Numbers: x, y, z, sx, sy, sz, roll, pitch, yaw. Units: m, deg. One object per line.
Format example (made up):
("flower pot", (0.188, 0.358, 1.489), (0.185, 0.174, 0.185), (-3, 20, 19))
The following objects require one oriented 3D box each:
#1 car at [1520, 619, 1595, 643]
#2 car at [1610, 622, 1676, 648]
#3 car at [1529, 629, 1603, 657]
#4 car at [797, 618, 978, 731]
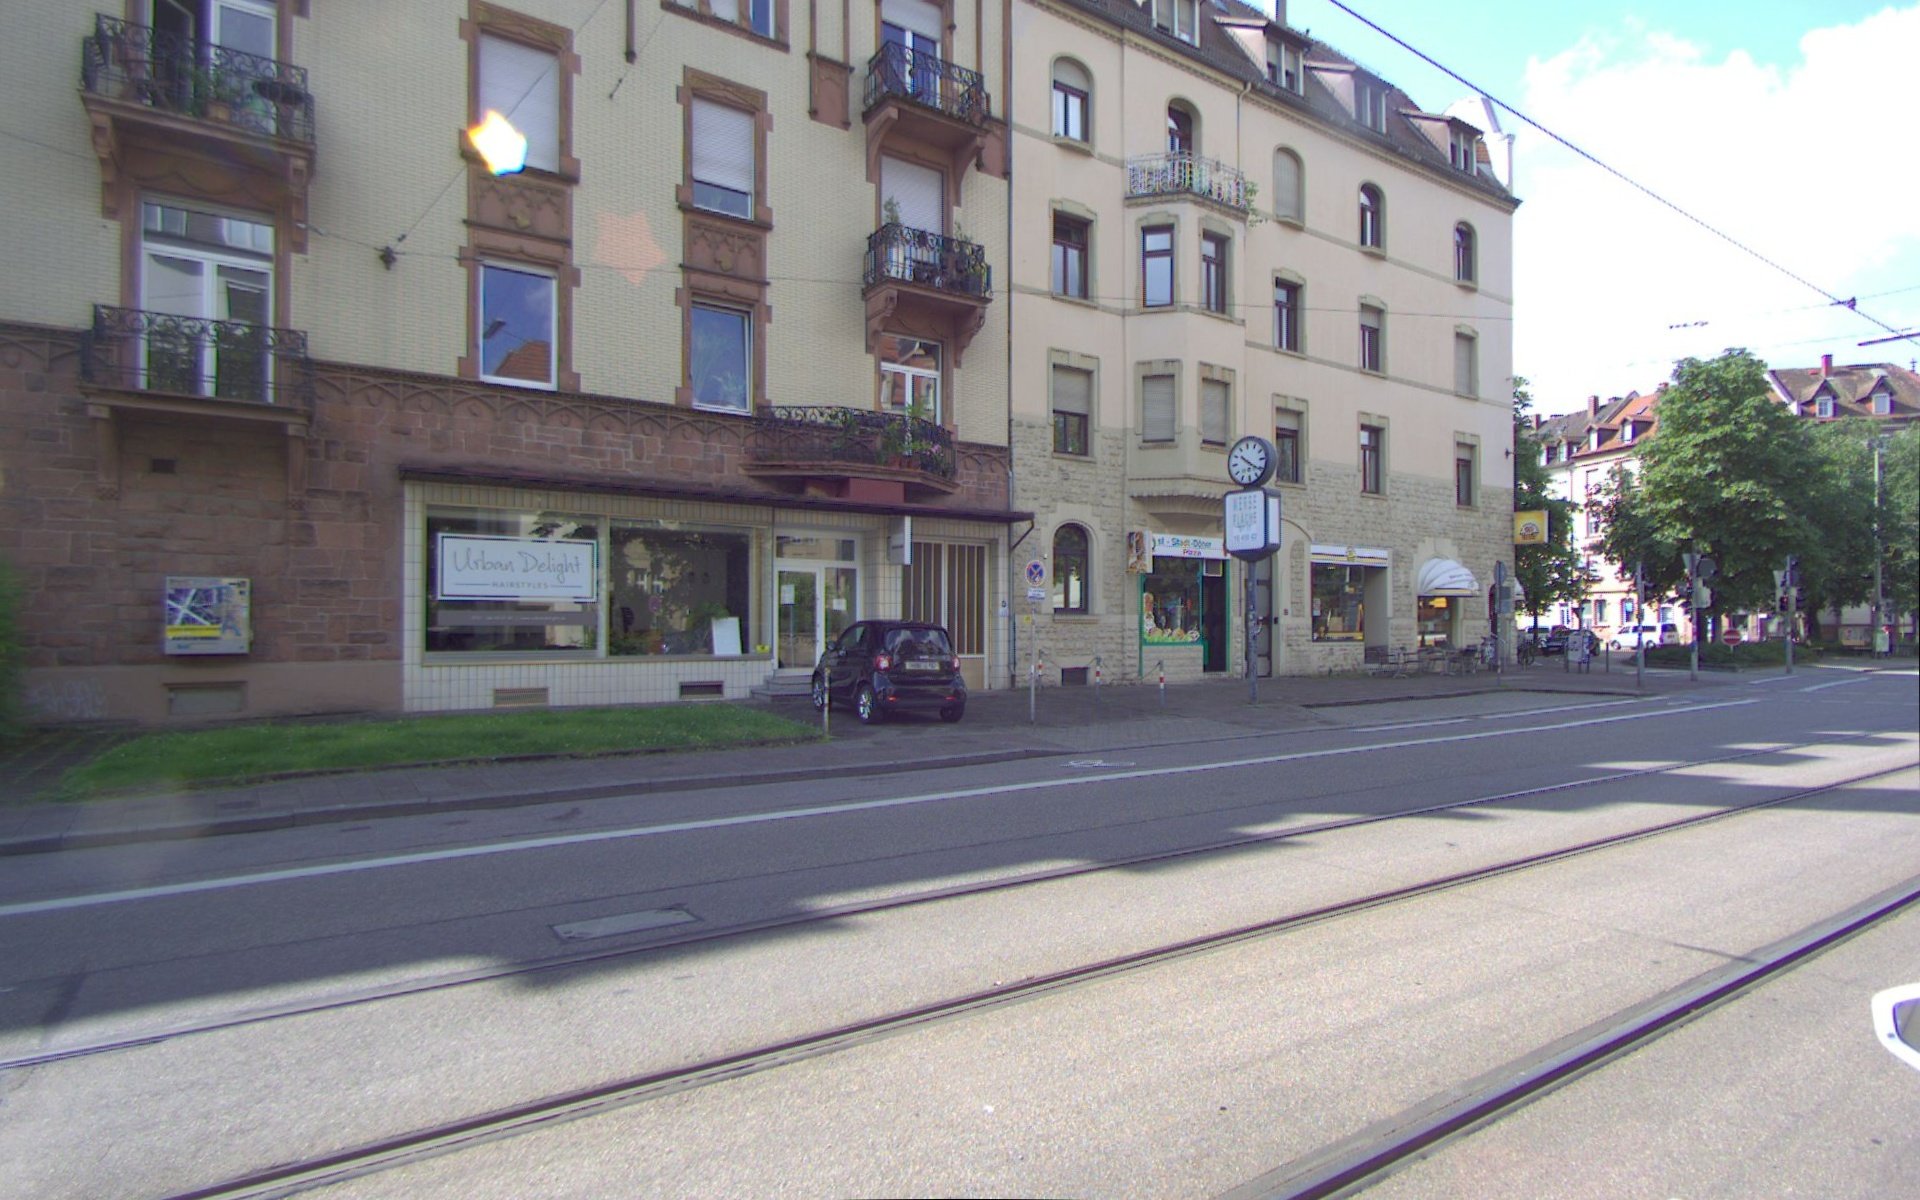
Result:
("car", (40.891, 2.100, 68.846), (1.976, 1.617, 3.970), (1, -2, -29))
("car", (50.974, 2.611, 75.069), (1.962, 1.929, 3.997), (0, -1, -5))
("car", (35.045, 2.456, 58.066), (4.013, 1.538, 1.751), (1, -2, -25))
("car", (-1.266, 1.107, 16.292), (1.716, 1.505, 3.163), (1, 1, -30))
